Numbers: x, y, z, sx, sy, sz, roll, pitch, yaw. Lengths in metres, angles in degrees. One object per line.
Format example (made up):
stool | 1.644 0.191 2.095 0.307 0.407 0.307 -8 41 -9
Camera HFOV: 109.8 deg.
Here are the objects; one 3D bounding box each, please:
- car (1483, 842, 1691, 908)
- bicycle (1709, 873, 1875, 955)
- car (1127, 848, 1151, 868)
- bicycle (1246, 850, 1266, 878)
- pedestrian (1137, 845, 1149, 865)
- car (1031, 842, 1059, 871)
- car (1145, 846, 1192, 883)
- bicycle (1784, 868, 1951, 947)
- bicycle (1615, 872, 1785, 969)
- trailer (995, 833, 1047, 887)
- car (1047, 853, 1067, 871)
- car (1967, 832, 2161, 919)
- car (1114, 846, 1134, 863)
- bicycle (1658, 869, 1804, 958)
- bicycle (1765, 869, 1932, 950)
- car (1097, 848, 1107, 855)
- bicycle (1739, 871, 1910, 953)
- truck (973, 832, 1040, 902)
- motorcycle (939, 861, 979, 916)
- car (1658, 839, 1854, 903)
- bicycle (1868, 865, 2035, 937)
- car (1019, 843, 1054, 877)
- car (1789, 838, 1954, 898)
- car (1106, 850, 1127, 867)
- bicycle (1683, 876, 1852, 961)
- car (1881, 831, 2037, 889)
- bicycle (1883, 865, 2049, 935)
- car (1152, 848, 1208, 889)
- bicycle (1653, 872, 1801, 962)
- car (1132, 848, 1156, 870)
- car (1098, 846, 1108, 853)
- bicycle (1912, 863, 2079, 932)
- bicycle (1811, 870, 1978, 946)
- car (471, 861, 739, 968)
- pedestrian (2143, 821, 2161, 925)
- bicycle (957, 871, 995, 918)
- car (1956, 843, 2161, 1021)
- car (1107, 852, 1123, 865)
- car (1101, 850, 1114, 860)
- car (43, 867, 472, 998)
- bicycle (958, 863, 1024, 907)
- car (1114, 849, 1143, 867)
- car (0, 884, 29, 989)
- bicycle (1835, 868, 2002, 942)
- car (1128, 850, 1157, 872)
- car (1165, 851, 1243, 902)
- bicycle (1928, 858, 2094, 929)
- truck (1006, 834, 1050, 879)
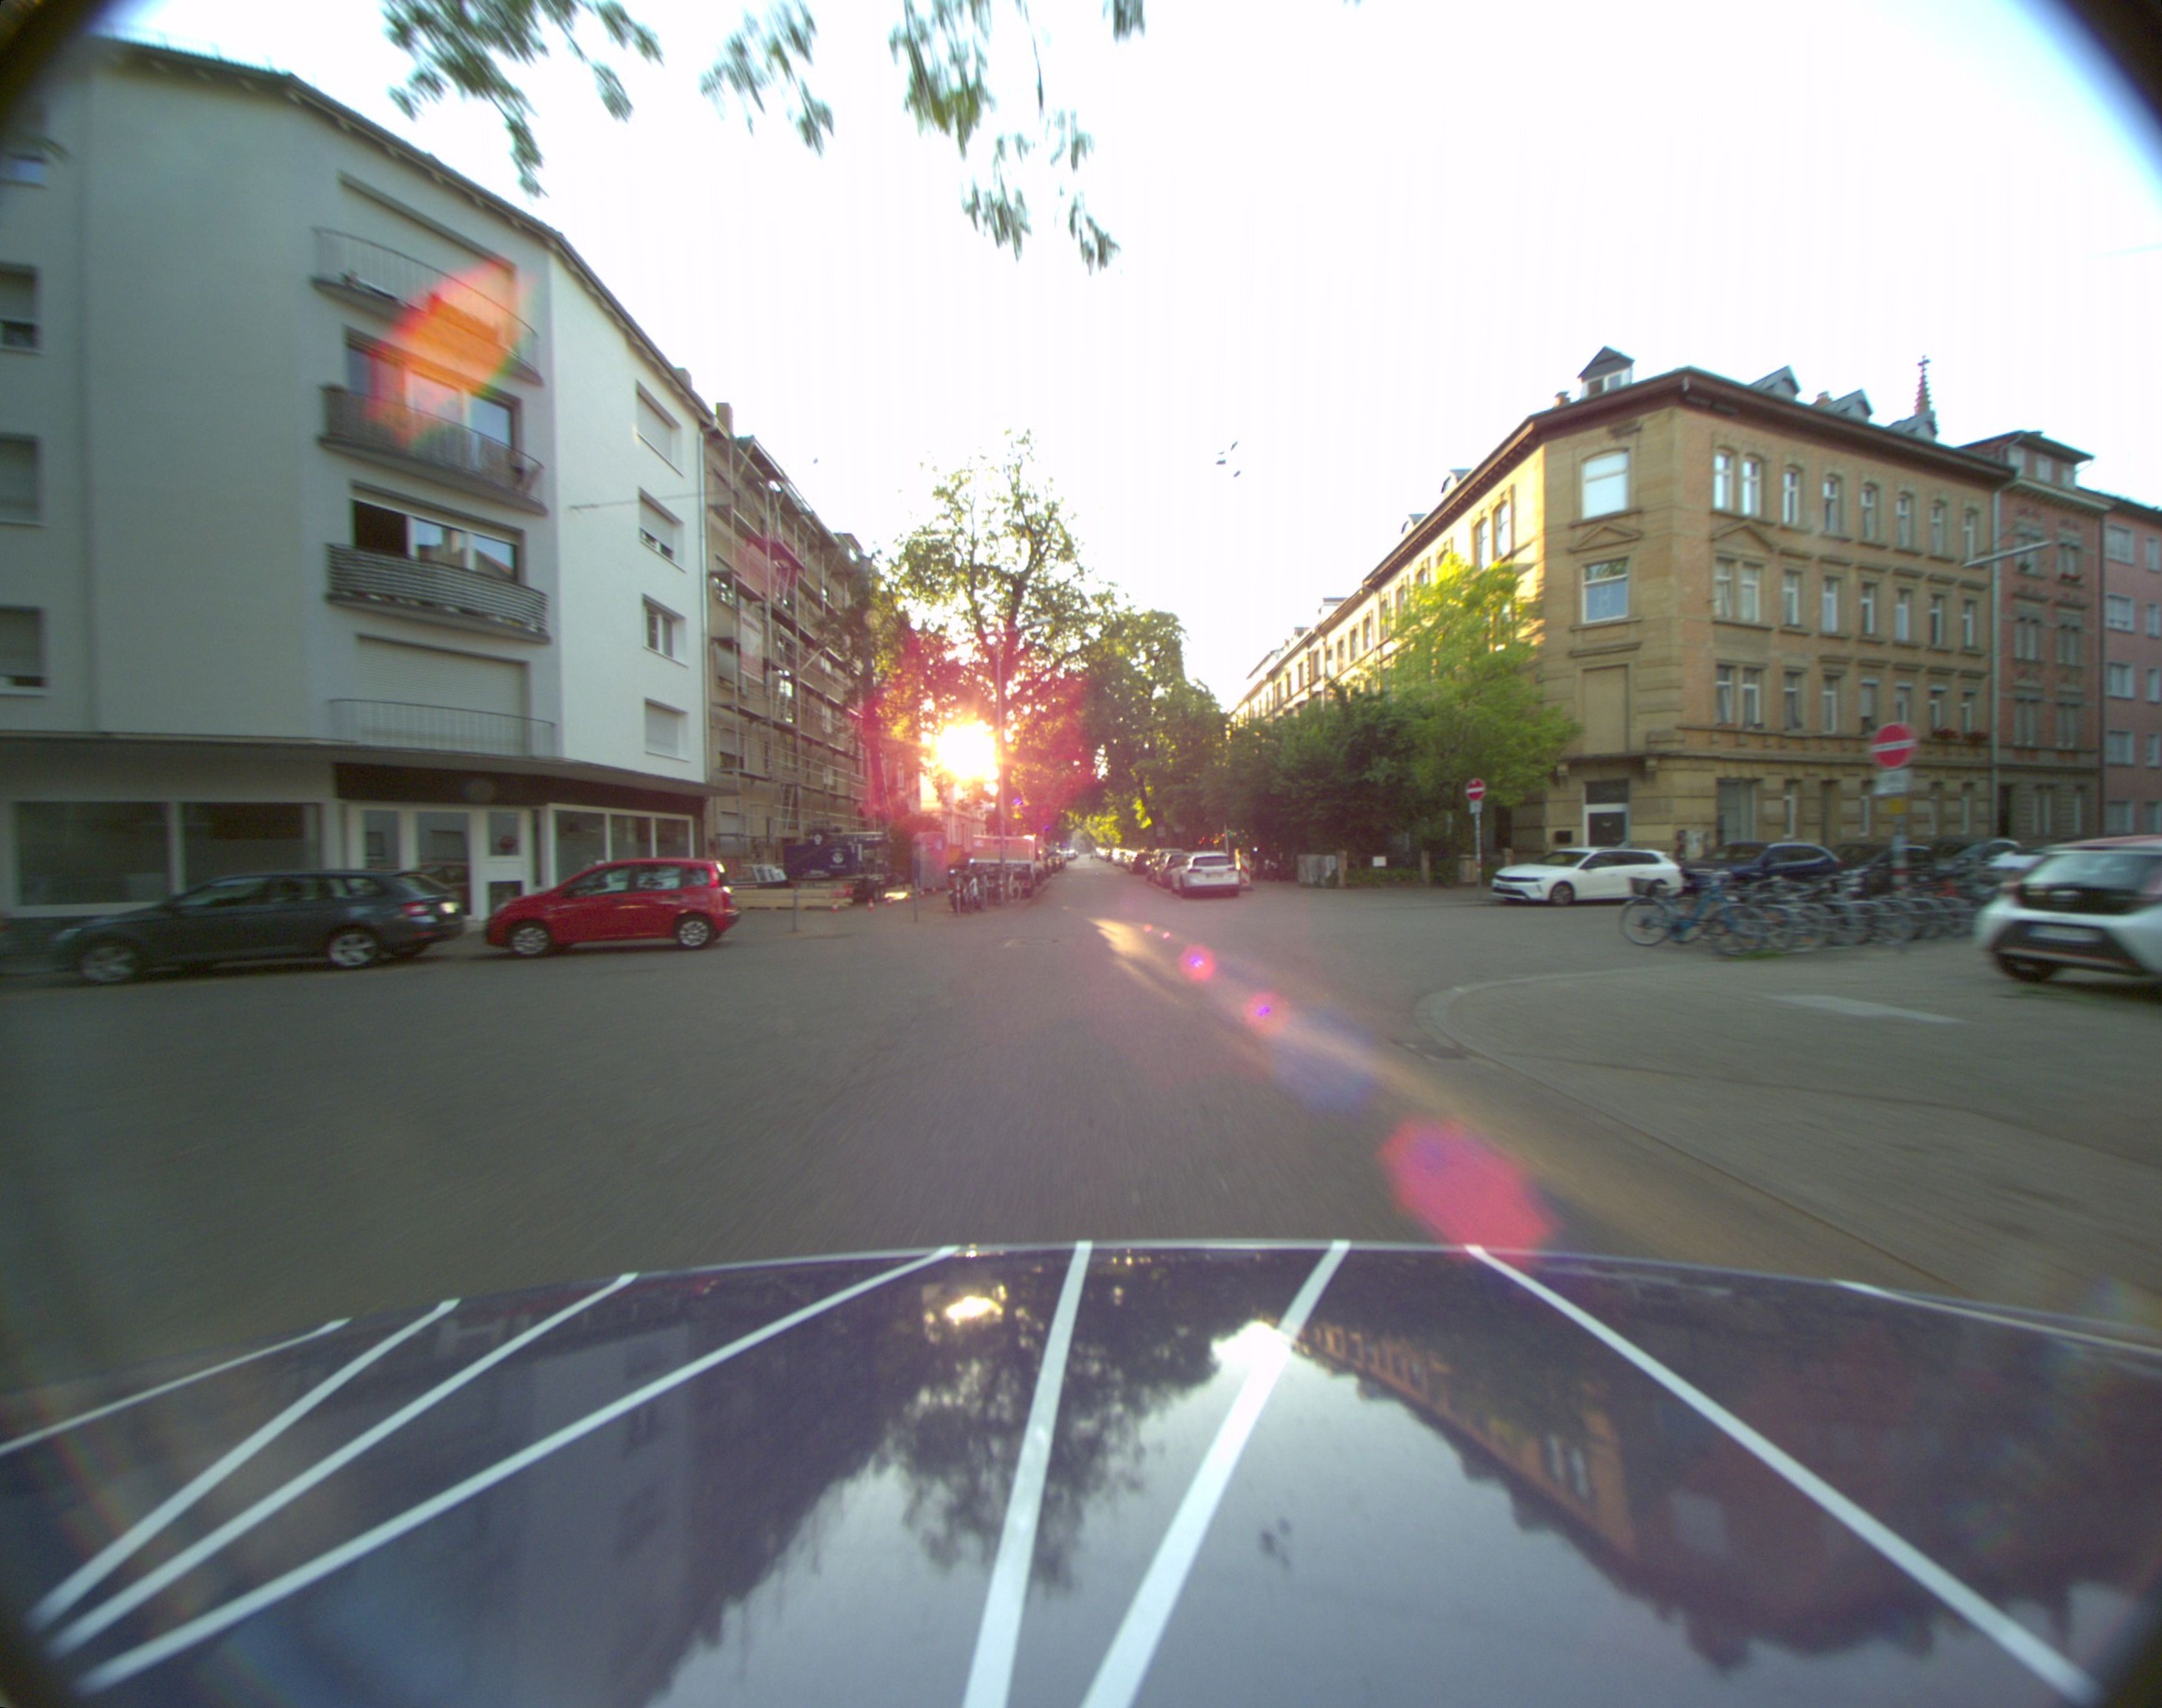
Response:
car | 12.902 0.516 19.466 4.467 1.543 1.708 -1 0 -9
bicycle | 10.763 0.865 11.591 0.367 1.103 1.848 -2 1 -26
car | 4.551 0.323 60.206 1.607 1.427 3.885 -4 0 2
bicycle | 8.363 0.455 36.210 0.606 1.277 2.489 0 1 20
pedestrian | 6.348 0.075 78.302 0.869 2.002 1.007 -1 1 -20
car | -2.681 0.154 57.305 1.959 2.047 4.830 1 0 -1
car | 4.164 0.481 36.865 1.694 1.554 4.402 -4 0 0
bicycle | 12.656 0.815 12.306 0.367 1.145 1.848 -2 1 -26
bicycle | 8.653 0.884 10.730 0.338 1.174 1.873 -2 2 -26
trailer | -2.700 0.240 35.136 1.959 2.282 4.644 1 0 0
car | -2.164 0.673 66.971 1.669 1.491 3.693 1 0 -3
car | 19.681 0.333 14.956 3.717 1.465 1.795 -1 3 -23
car | 4.174 0.041 74.510 1.668 1.484 3.710 -4 0 -1
bicycle | 9.467 0.829 11.144 0.243 1.174 1.676 -2 1 -26
bicycle | 12.101 0.837 12.058 0.367 1.145 1.848 -2 1 -26
car | 4.154 -0.504 150.239 1.617 1.433 4.104 -2 0 -2
bicycle | 11.243 0.834 11.579 0.367 1.103 1.848 -2 1 -26
truck | -2.595 0.378 28.050 1.982 2.232 6.774 -1 1 -2
motorcycle | -3.253 0.891 20.389 0.503 1.349 2.062 1 1 7
car | 17.812 0.404 20.128 4.107 1.543 1.706 -1 3 -11
bicycle | 14.751 0.756 12.946 0.402 1.110 1.848 -2 1 -20
car | -2.678 0.370 46.623 1.844 1.931 4.613 1 0 -1
car | 22.567 0.338 21.723 3.878 1.543 1.706 -1 3 -18
car | 3.628 0.455 78.453 1.669 1.667 3.845 -4 0 -3
bicycle | 10.098 0.904 11.266 0.367 1.103 1.848 -2 1 -26
car | 26.698 0.128 23.124 3.878 1.637 1.705 -1 3 -18
bicycle | 15.199 0.748 13.119 0.367 1.099 1.848 -2 1 -22
car | 4.106 0.555 32.022 1.694 1.494 4.401 -4 1 0
bicycle | 9.264 0.864 10.974 0.243 1.174 1.676 -2 1 -26
car | 4.598 0.351 56.010 1.555 1.477 3.694 -4 0 3
car | 4.514 -0.918 155.569 1.617 1.433 4.104 -2 0 -2
bicycle | 15.940 0.719 13.320 0.367 1.099 1.848 -2 1 -22
bicycle | 13.353 0.847 12.547 0.367 1.110 1.848 -2 1 -26
car | -7.703 0.921 12.661 3.481 1.564 1.624 -1 0 -19
pedestrian | 18.573 0.295 12.768 0.503 1.754 0.623 -3 -2 -22
bicycle | -2.759 1.046 20.132 0.406 1.103 2.156 1 1 8
car | 11.016 0.601 6.749 4.100 1.439 1.710 -2 0 9
car | 4.707 0.596 104.797 1.871 1.678 4.591 -2 0 0
car | 4.192 0.154 120.587 1.617 1.433 3.753 -3 0 -3
car | -11.653 1.026 11.131 3.900 1.499 1.623 -2 0 -20
bicycle | -2.657 0.921 22.493 1.908 1.251 0.406 1 1 -5
car | 4.256 0.351 68.576 1.845 1.403 4.598 -4 0 -5
car | -16.599 1.222 9.187 4.239 1.421 1.653 -2 2 -23
bicycle | 13.923 0.816 12.700 0.367 1.110 1.848 -2 1 -26
car | 4.153 0.452 51.510 1.555 1.477 3.693 0 0 -1
car | 4.115 0.709 26.125 1.694 1.493 4.737 -4 0 -1
bicycle | 16.509 0.658 13.553 0.367 1.158 1.848 -2 1 -22
truck | -2.822 0.138 41.276 1.959 2.233 4.645 1 0 1
